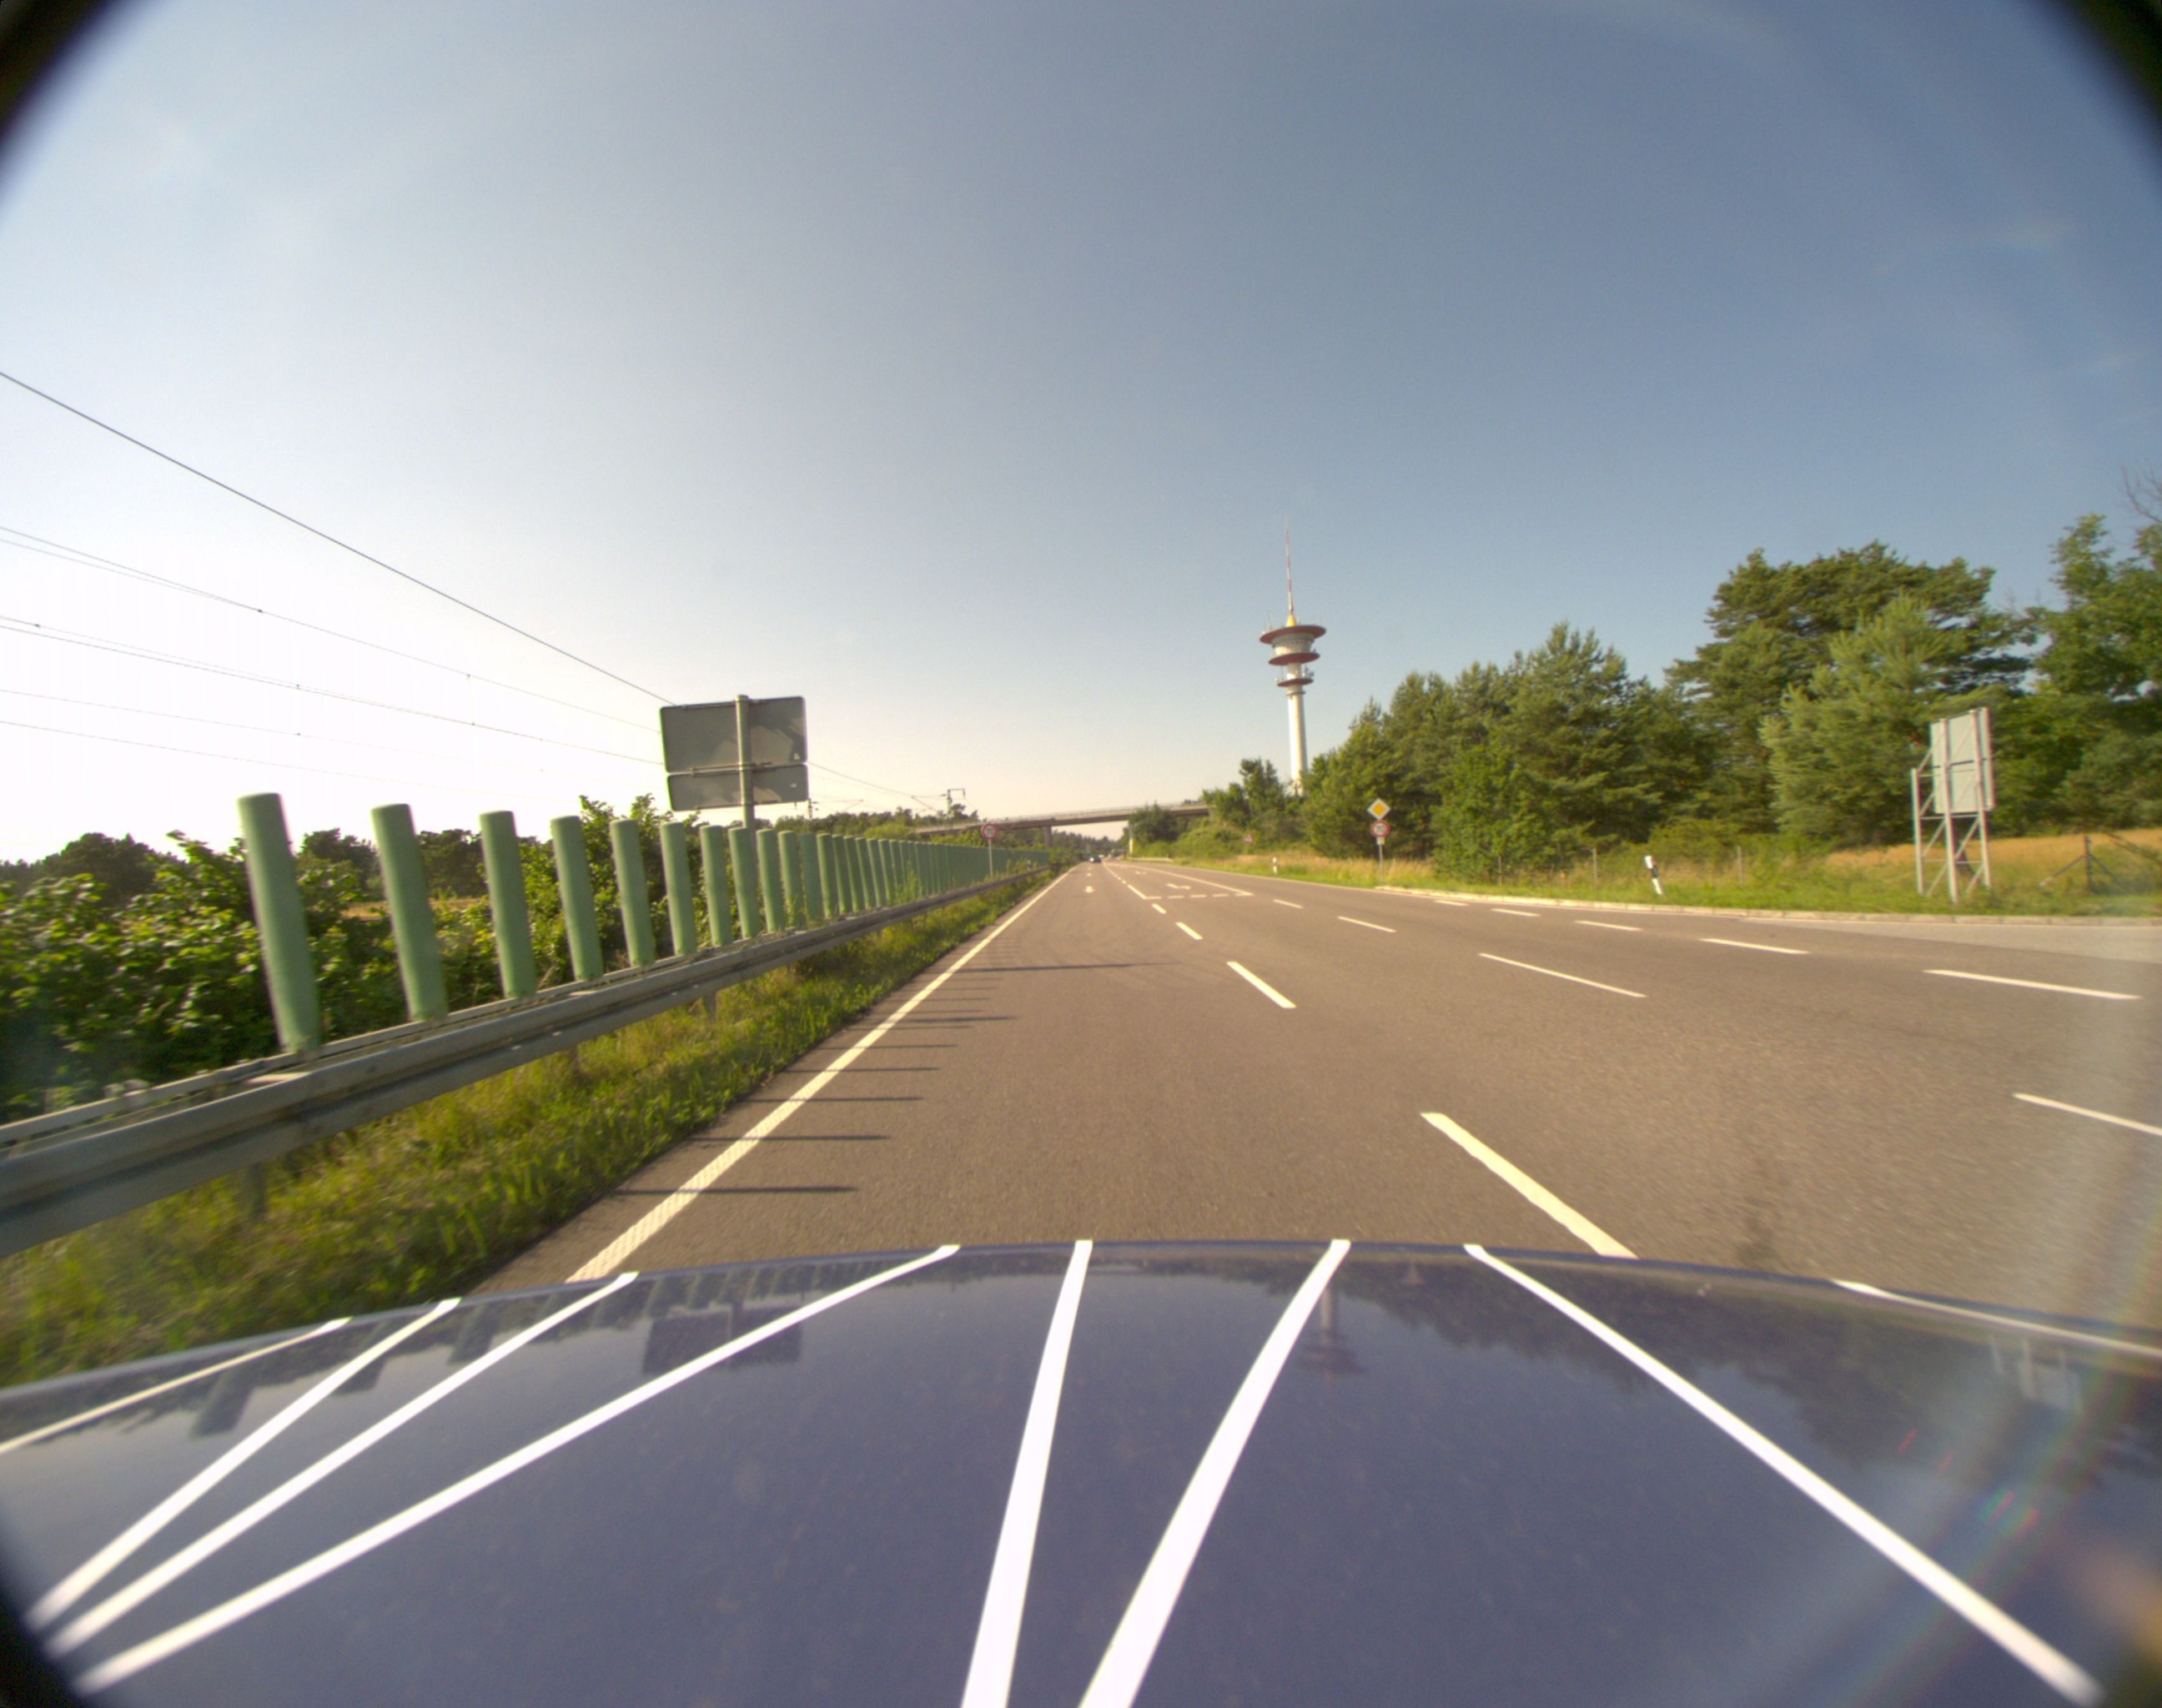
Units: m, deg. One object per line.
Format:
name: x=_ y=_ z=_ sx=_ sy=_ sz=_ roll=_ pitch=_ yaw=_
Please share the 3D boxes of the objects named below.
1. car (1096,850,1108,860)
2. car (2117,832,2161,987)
car: x=3.530 y=0.194 z=127.562 sx=1.998 sy=1.533 sz=4.332 roll=-1 pitch=0 yaw=2
car: x=12.716 y=0.472 z=6.924 sx=4.073 sy=1.532 sz=1.870 roll=-2 pitch=0 yaw=-2
